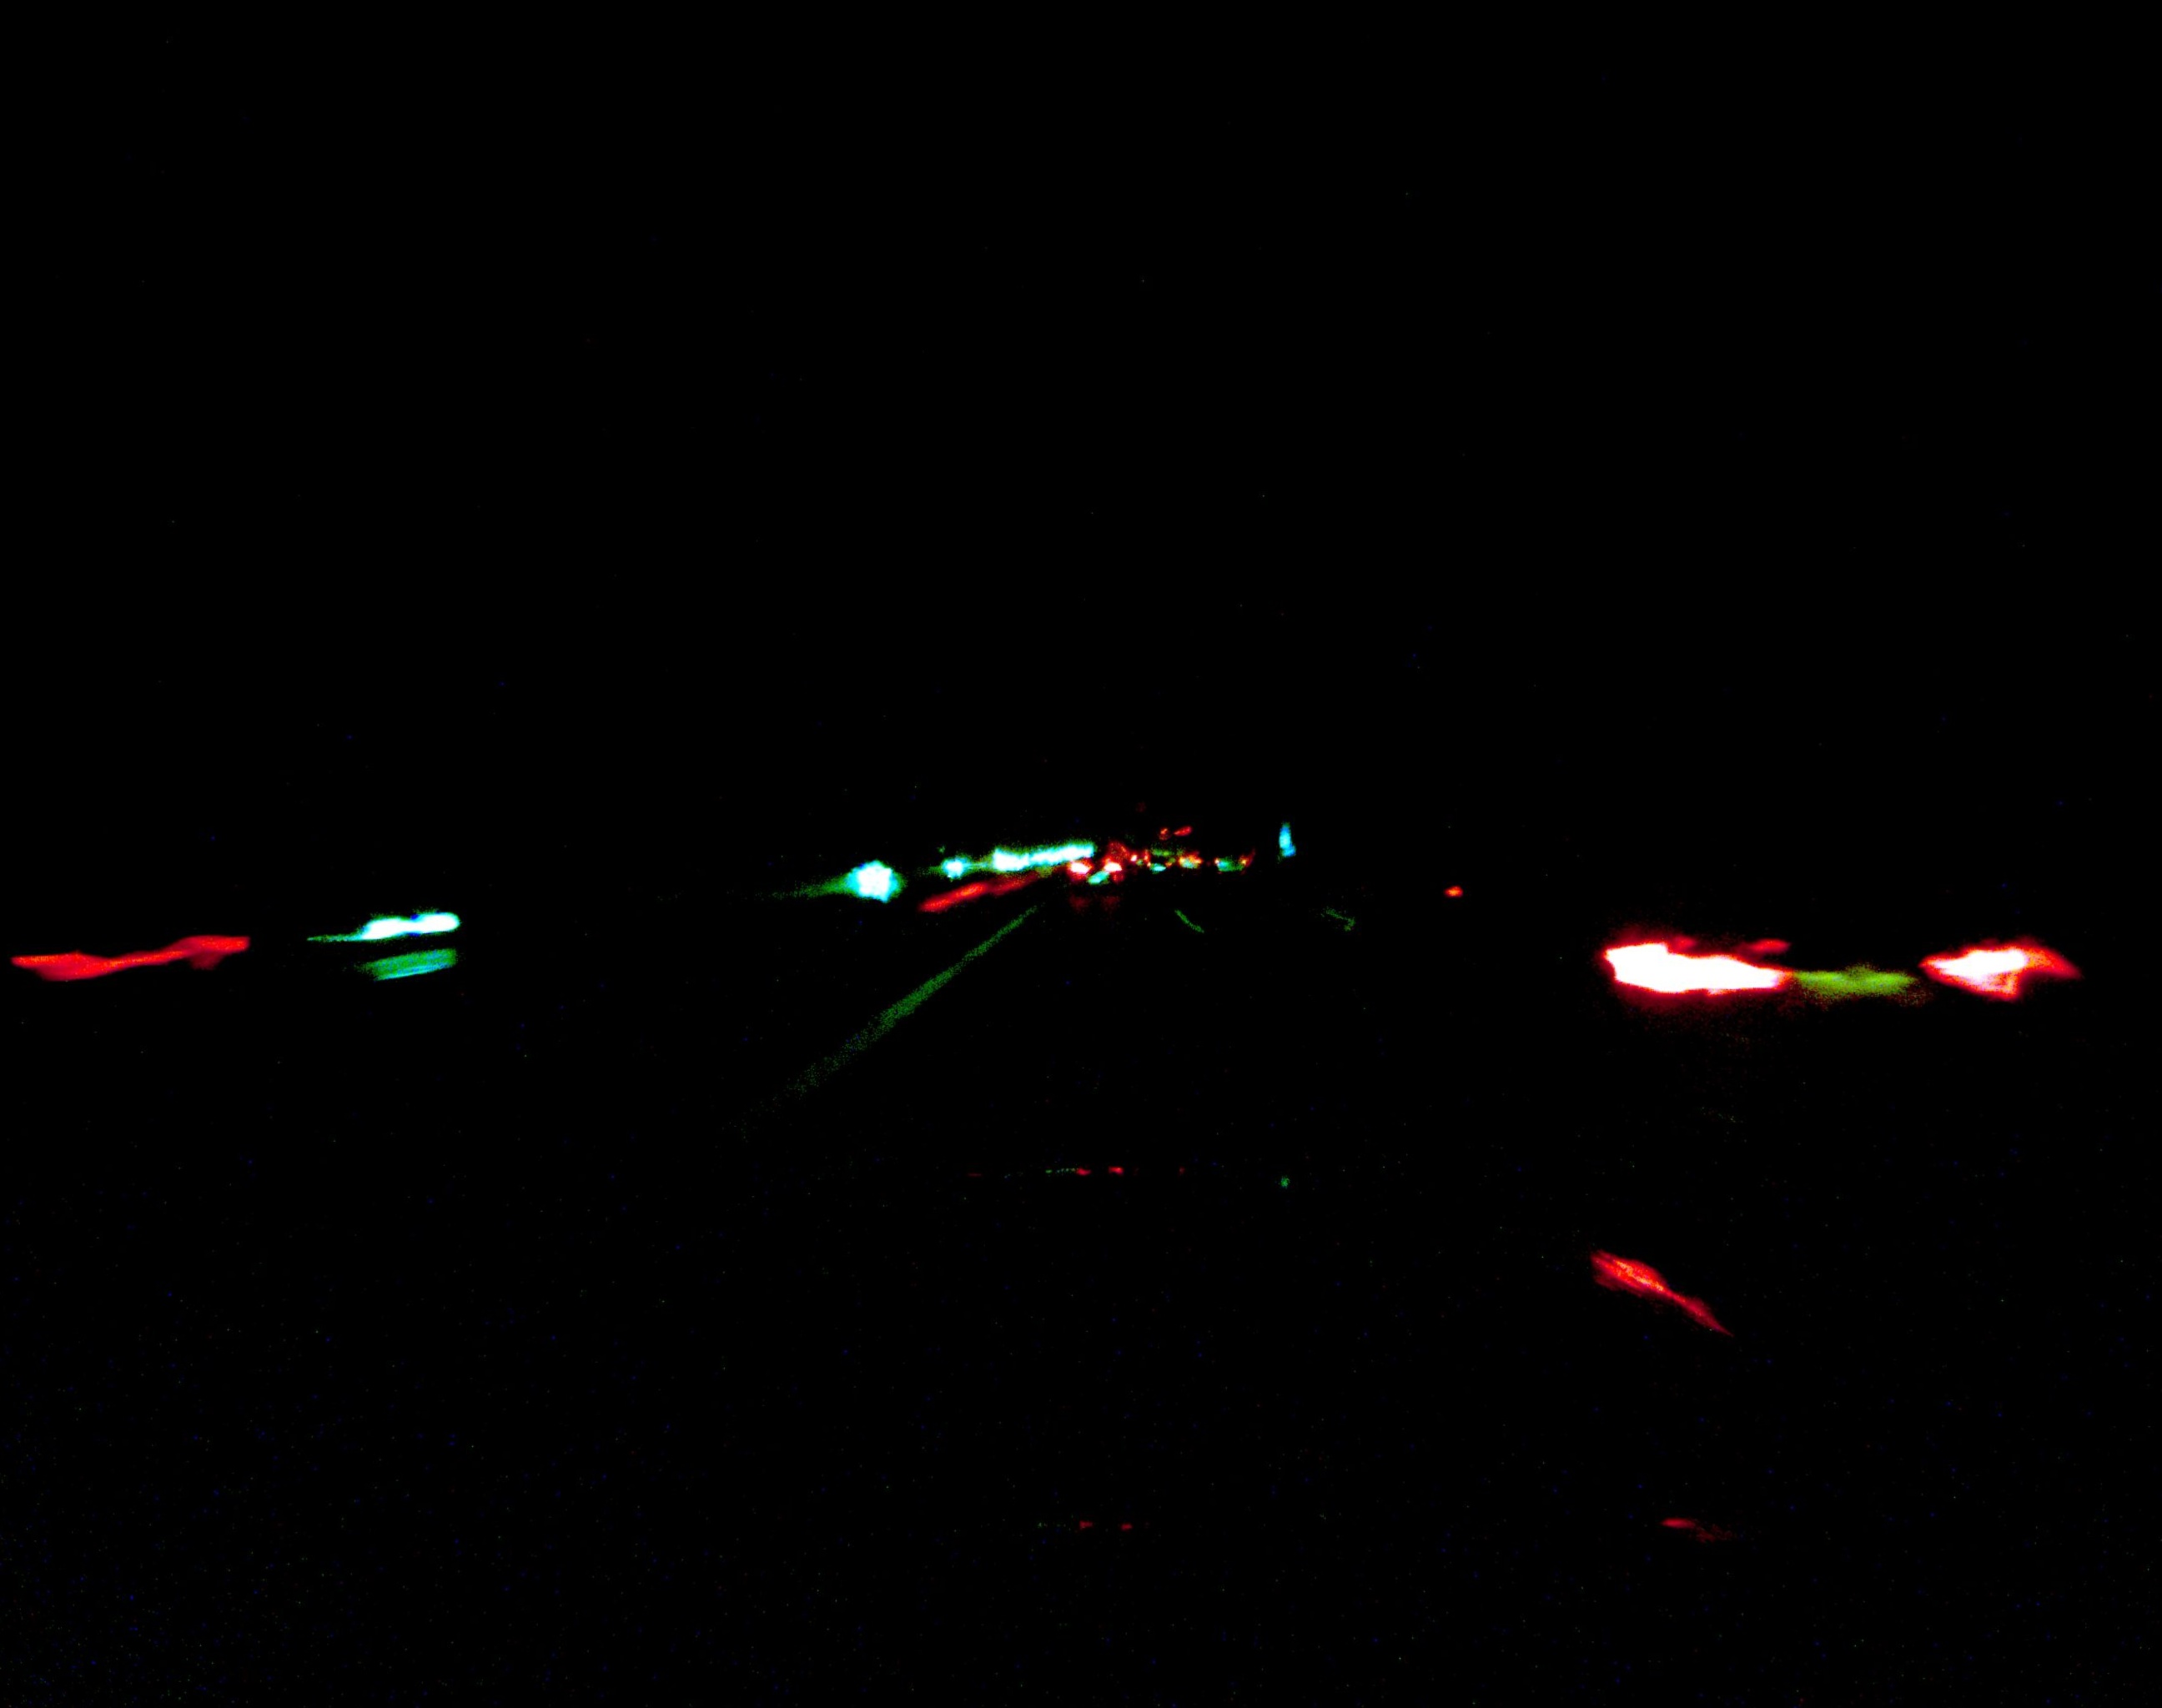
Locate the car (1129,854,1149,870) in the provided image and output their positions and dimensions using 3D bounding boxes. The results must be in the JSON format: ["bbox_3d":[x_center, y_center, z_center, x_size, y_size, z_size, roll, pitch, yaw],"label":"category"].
[{"bbox_3d":[5.968,0.827,84.540,1.877,1.588,4.001,-1,0,1],"label":"car"}]

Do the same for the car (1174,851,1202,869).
[{"bbox_3d":[9.415,0.501,72.233,1.888,1.486,4.962,0,0,0],"label":"car"}]

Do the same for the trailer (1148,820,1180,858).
[{"bbox_3d":[9.742,-1.642,96.732,2.793,4.212,12.100,-1,0,1],"label":"trailer"}]

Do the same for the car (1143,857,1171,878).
[{"bbox_3d":[5.238,0.901,56.370,1.607,1.412,3.792,-1,0,0],"label":"car"}]

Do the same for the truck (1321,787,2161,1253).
[{"bbox_3d":[3.158,0.620,5.413,1.836,1.696,4.856,0,0,2],"label":"truck"}]

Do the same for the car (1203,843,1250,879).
[{"bbox_3d":[8.907,0.390,50.188,2.038,1.974,5.410,-3,0,3],"label":"car"}]

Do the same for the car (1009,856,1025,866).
[{"bbox_3d":[-9.861,1.120,126.178,1.986,1.415,4.591,-3,0,1],"label":"car"}]

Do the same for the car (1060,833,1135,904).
[{"bbox_3d":[0.649,0.517,33.771,2.701,2.534,5.830,-3,0,0],"label":"car"}]

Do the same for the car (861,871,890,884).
[{"bbox_3d":[-18.567,2.090,73.692,1.632,1.102,4.046,0,0,0],"label":"car"}]

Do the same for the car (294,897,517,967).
[{"bbox_3d":[-19.631,2.207,24.104,1.885,1.583,5.375,0,0,3],"label":"car"}]

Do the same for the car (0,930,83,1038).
[{"bbox_3d":[-16.006,1.901,10.126,1.777,1.422,4.352,-3,0,0],"label":"car"}]
